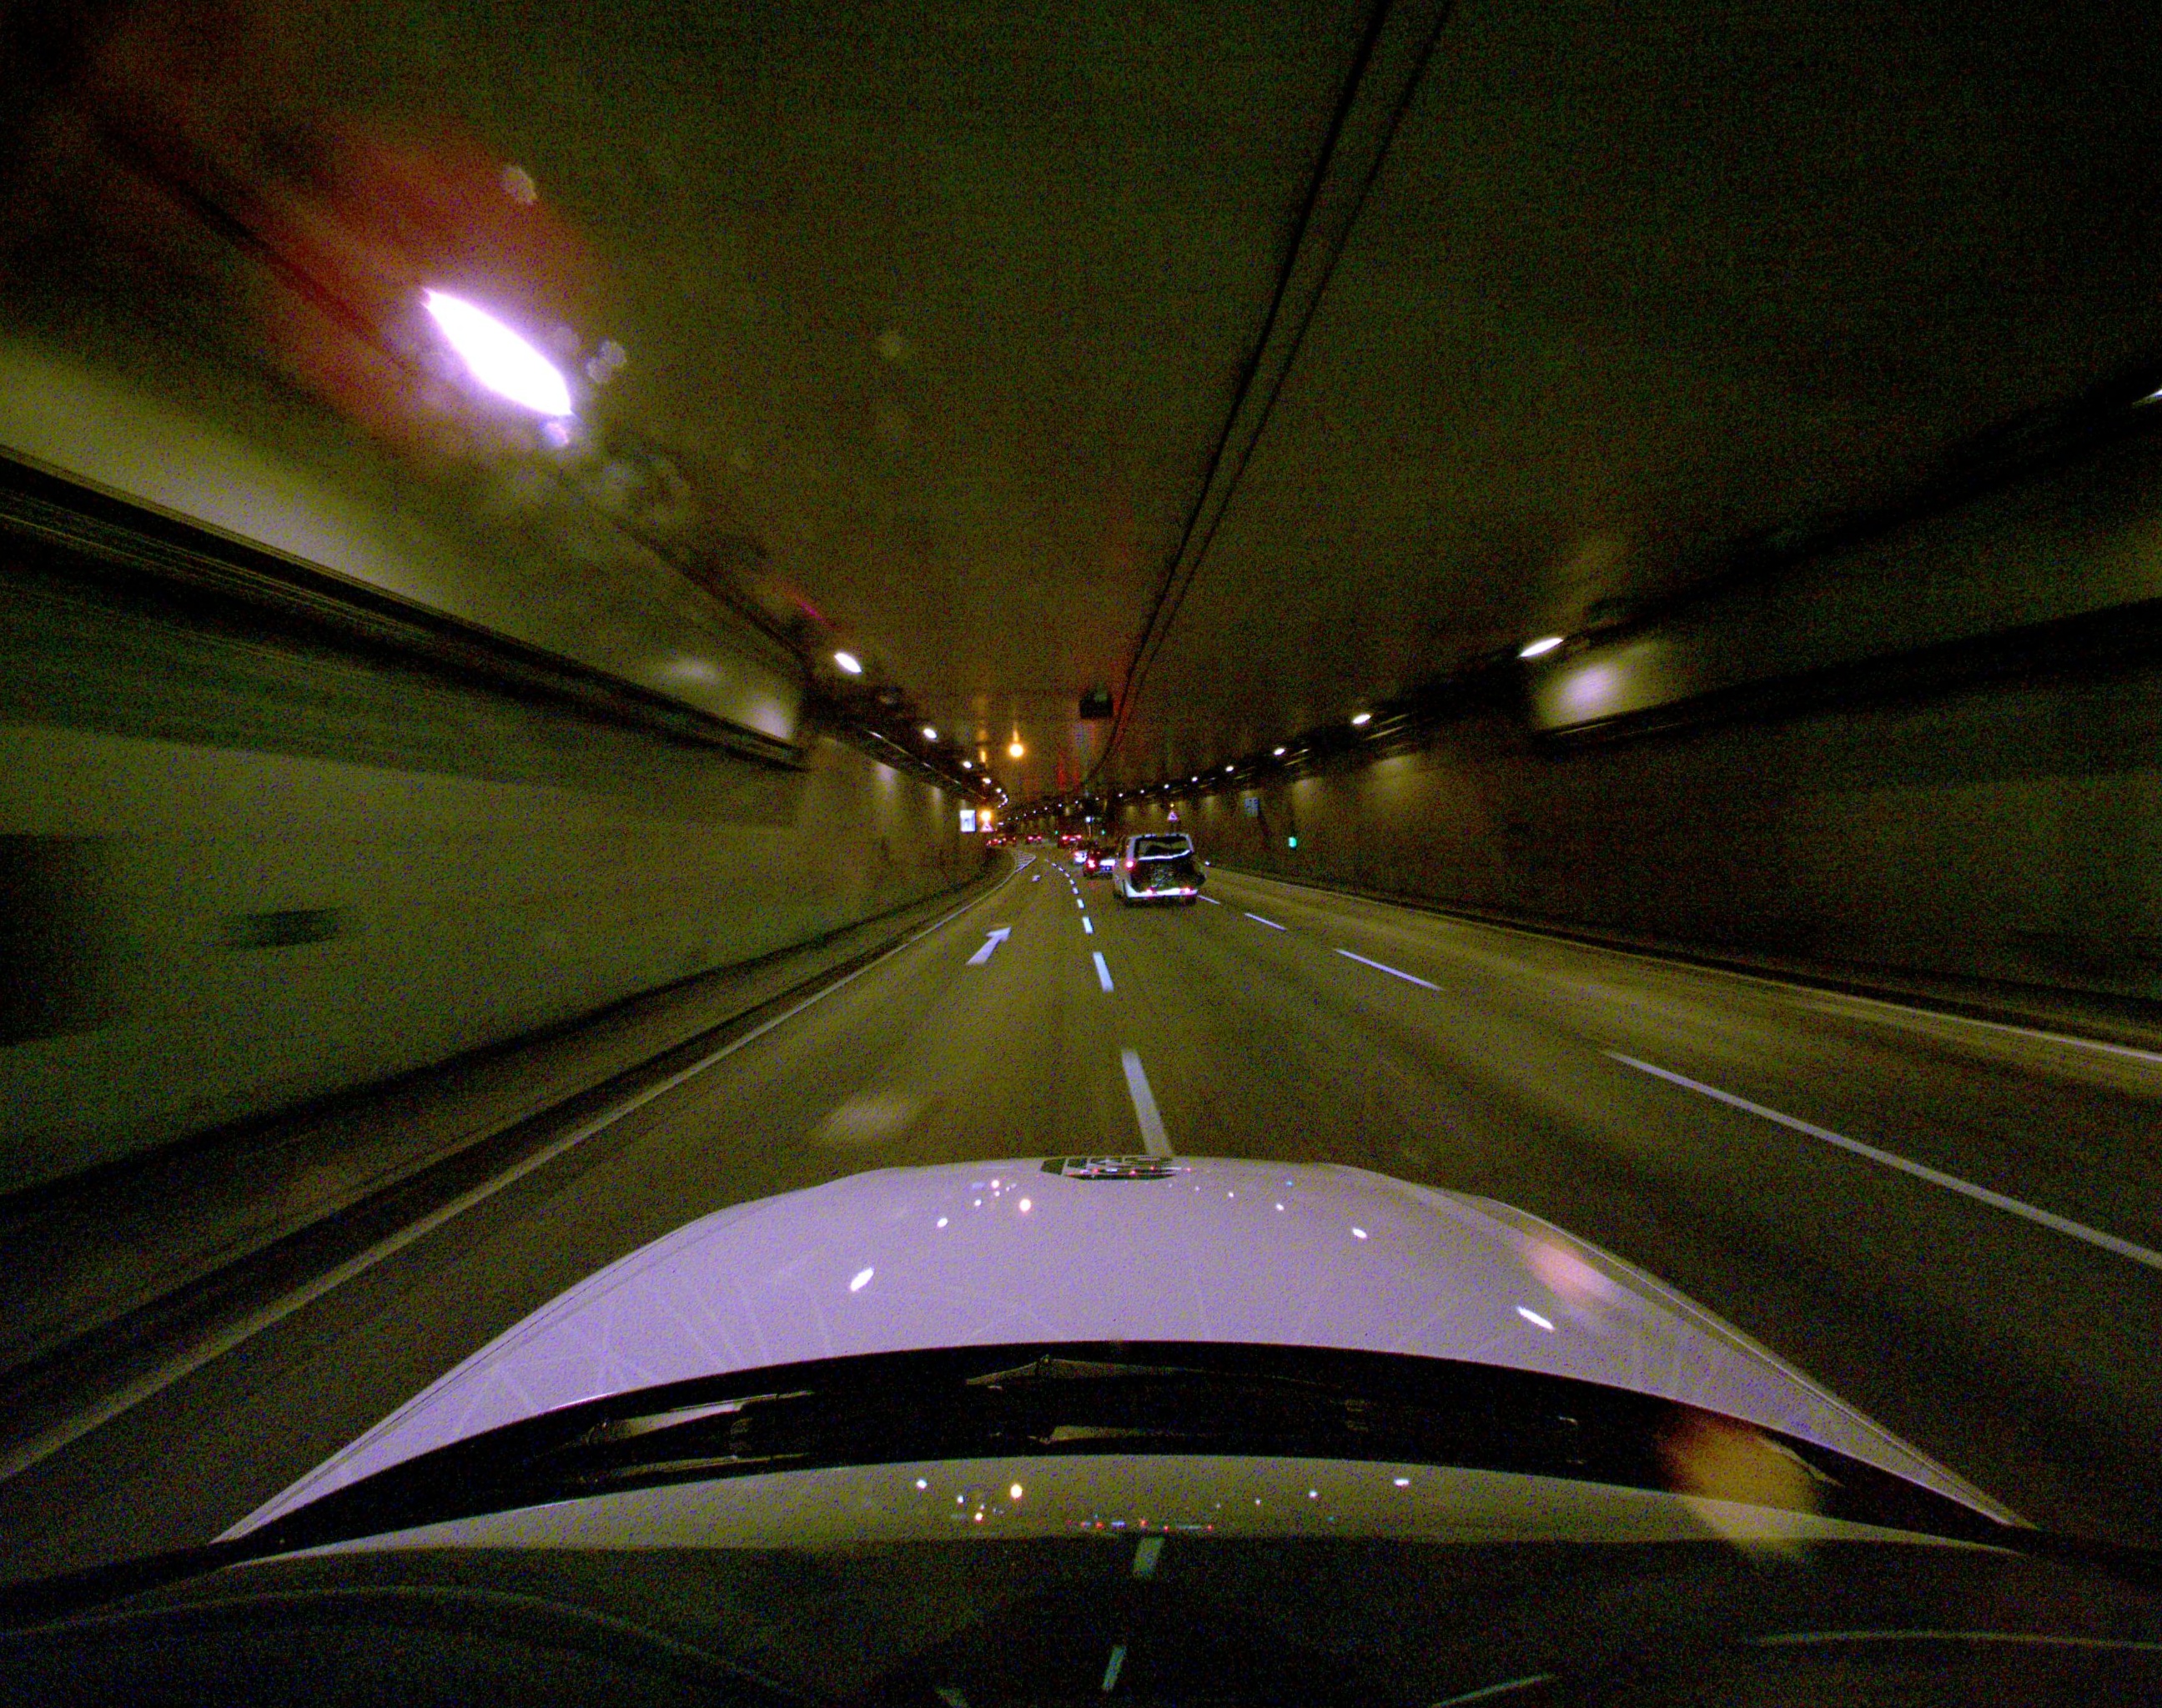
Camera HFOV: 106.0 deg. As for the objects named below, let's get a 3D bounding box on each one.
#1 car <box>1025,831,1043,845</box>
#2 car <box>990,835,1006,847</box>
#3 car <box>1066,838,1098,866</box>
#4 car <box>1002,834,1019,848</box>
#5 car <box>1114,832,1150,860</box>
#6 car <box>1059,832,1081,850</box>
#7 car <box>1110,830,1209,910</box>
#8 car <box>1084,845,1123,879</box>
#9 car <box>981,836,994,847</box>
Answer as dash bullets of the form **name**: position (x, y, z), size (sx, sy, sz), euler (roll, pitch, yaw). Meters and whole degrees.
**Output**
- **car**: position (-6.044, -2.024, 105.224), size (1.823, 1.630, 3.828), euler (-1, 0, -11)
- **car**: position (-12.071, -1.822, 118.214), size (1.824, 1.630, 3.827), euler (-1, 0, -12)
- **car**: position (0.043, -0.129, 50.274), size (1.601, 1.594, 3.348), euler (-2, 1, -6)
- **car**: position (-8.745, -1.612, 101.048), size (1.822, 1.630, 3.831), euler (-1, 0, -9)
- **car**: position (3.333, -0.486, 53.918), size (1.869, 1.761, 3.993), euler (-1, -1, -5)
- **car**: position (-1.130, -1.284, 79.970), size (1.603, 1.630, 3.343), euler (-1, 0, -11)
- **car**: position (1.954, 0.344, 21.917), size (1.988, 1.847, 5.298), euler (-2, 1, -2)
- **car**: position (0.980, 0.336, 36.909), size (1.598, 1.395, 3.276), euler (-2, 1, -1)
- **car**: position (-15.920, -2.113, 138.245), size (1.824, 1.630, 3.827), euler (-1, 0, -13)
